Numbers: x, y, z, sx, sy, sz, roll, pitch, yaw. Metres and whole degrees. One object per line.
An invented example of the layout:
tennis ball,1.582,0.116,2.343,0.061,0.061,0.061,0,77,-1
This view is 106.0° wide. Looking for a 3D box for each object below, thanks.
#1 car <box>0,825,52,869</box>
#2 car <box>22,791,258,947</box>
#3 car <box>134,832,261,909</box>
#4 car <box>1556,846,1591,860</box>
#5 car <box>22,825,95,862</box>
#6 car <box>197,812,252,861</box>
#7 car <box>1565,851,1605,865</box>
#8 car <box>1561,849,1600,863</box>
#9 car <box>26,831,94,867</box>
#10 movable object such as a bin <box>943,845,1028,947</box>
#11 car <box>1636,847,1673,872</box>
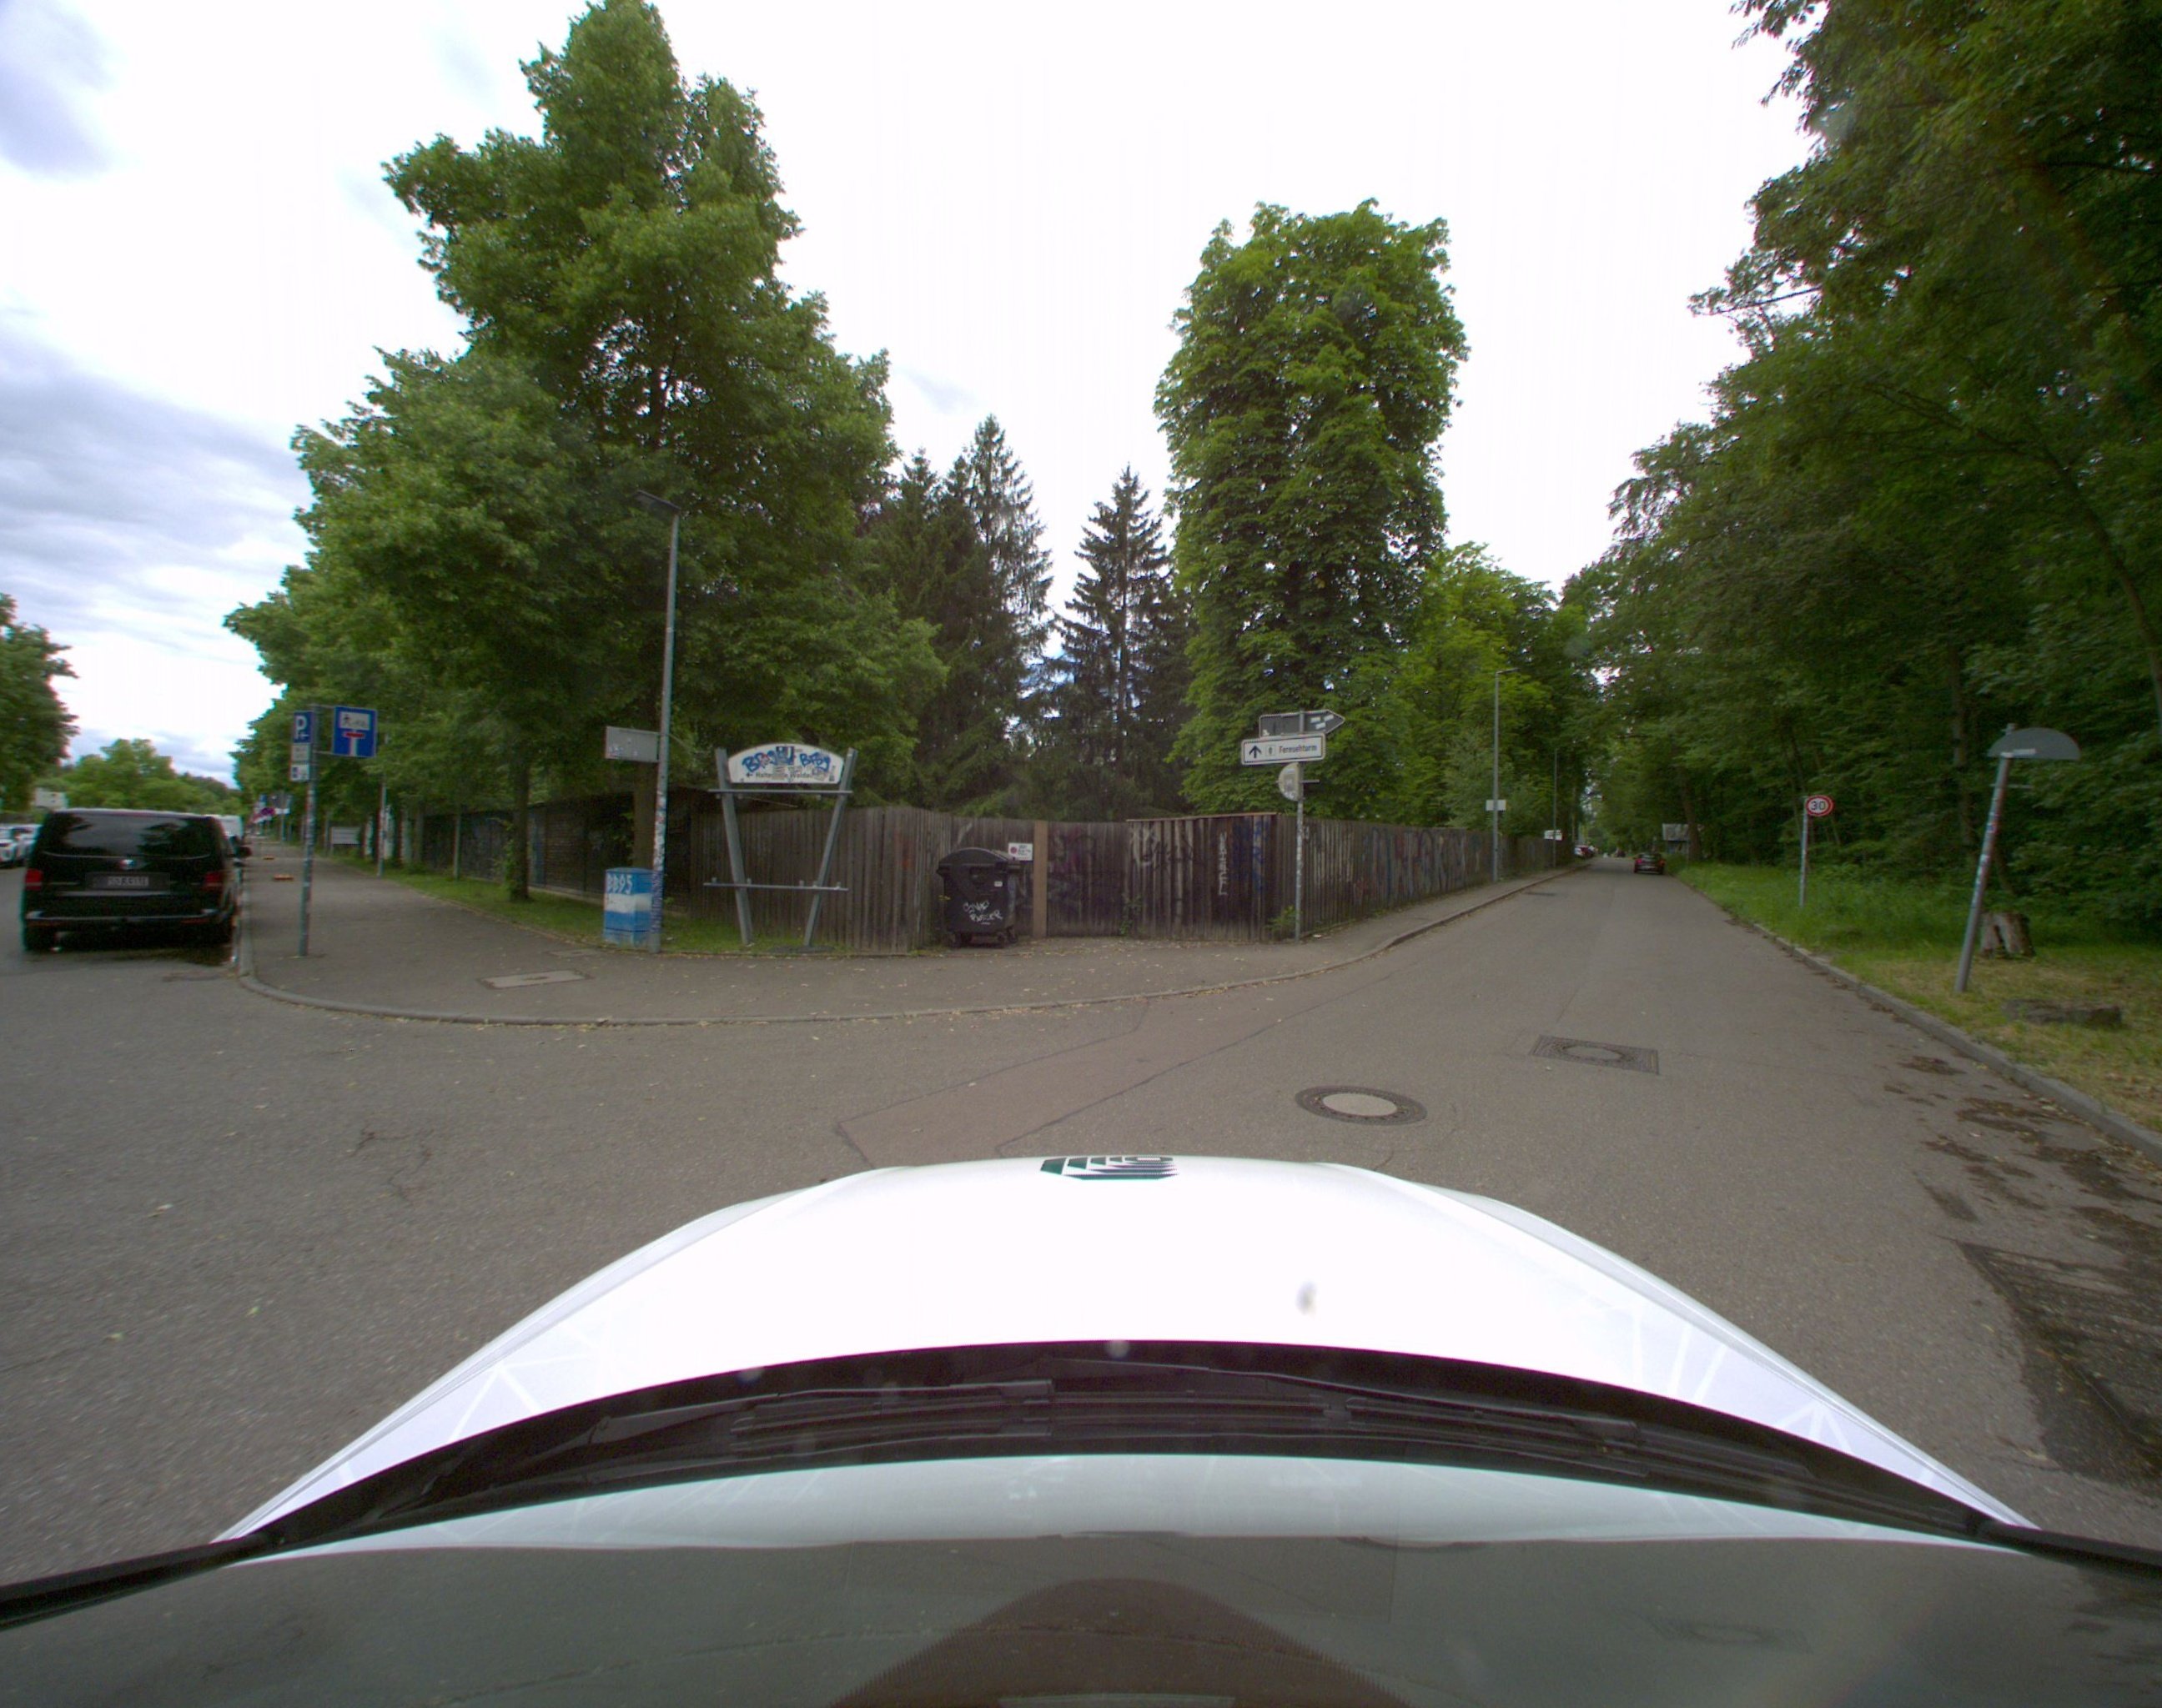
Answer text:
car,-39.558,-0.285,30.116,3.153,1.559,1.608,1,1,43
car,-14.338,0.169,12.686,2.006,2.013,4.058,1,0,-44
car,-18.858,0.297,17.509,1.611,1.481,3.478,1,0,-44
car,65.600,-0.182,108.472,3.949,1.749,2.013,1,1,31
car,-42.734,-0.449,34.090,1.482,1.481,3.150,1,0,-44
car,-55.341,-1.118,52.700,2.204,3.015,4.837,1,0,-44
car,60.037,0.506,97.067,3.949,1.574,2.012,2,1,31
car,60.906,0.201,99.327,3.949,1.574,2.013,1,1,31
car,-47.124,-0.248,37.641,3.154,1.559,1.608,1,1,45
movable object such as a bin,-1.399,0.598,12.204,1.071,1.442,1.286,0,-1,1
car,38.774,0.396,55.006,1.890,1.507,4.025,5,2,36
